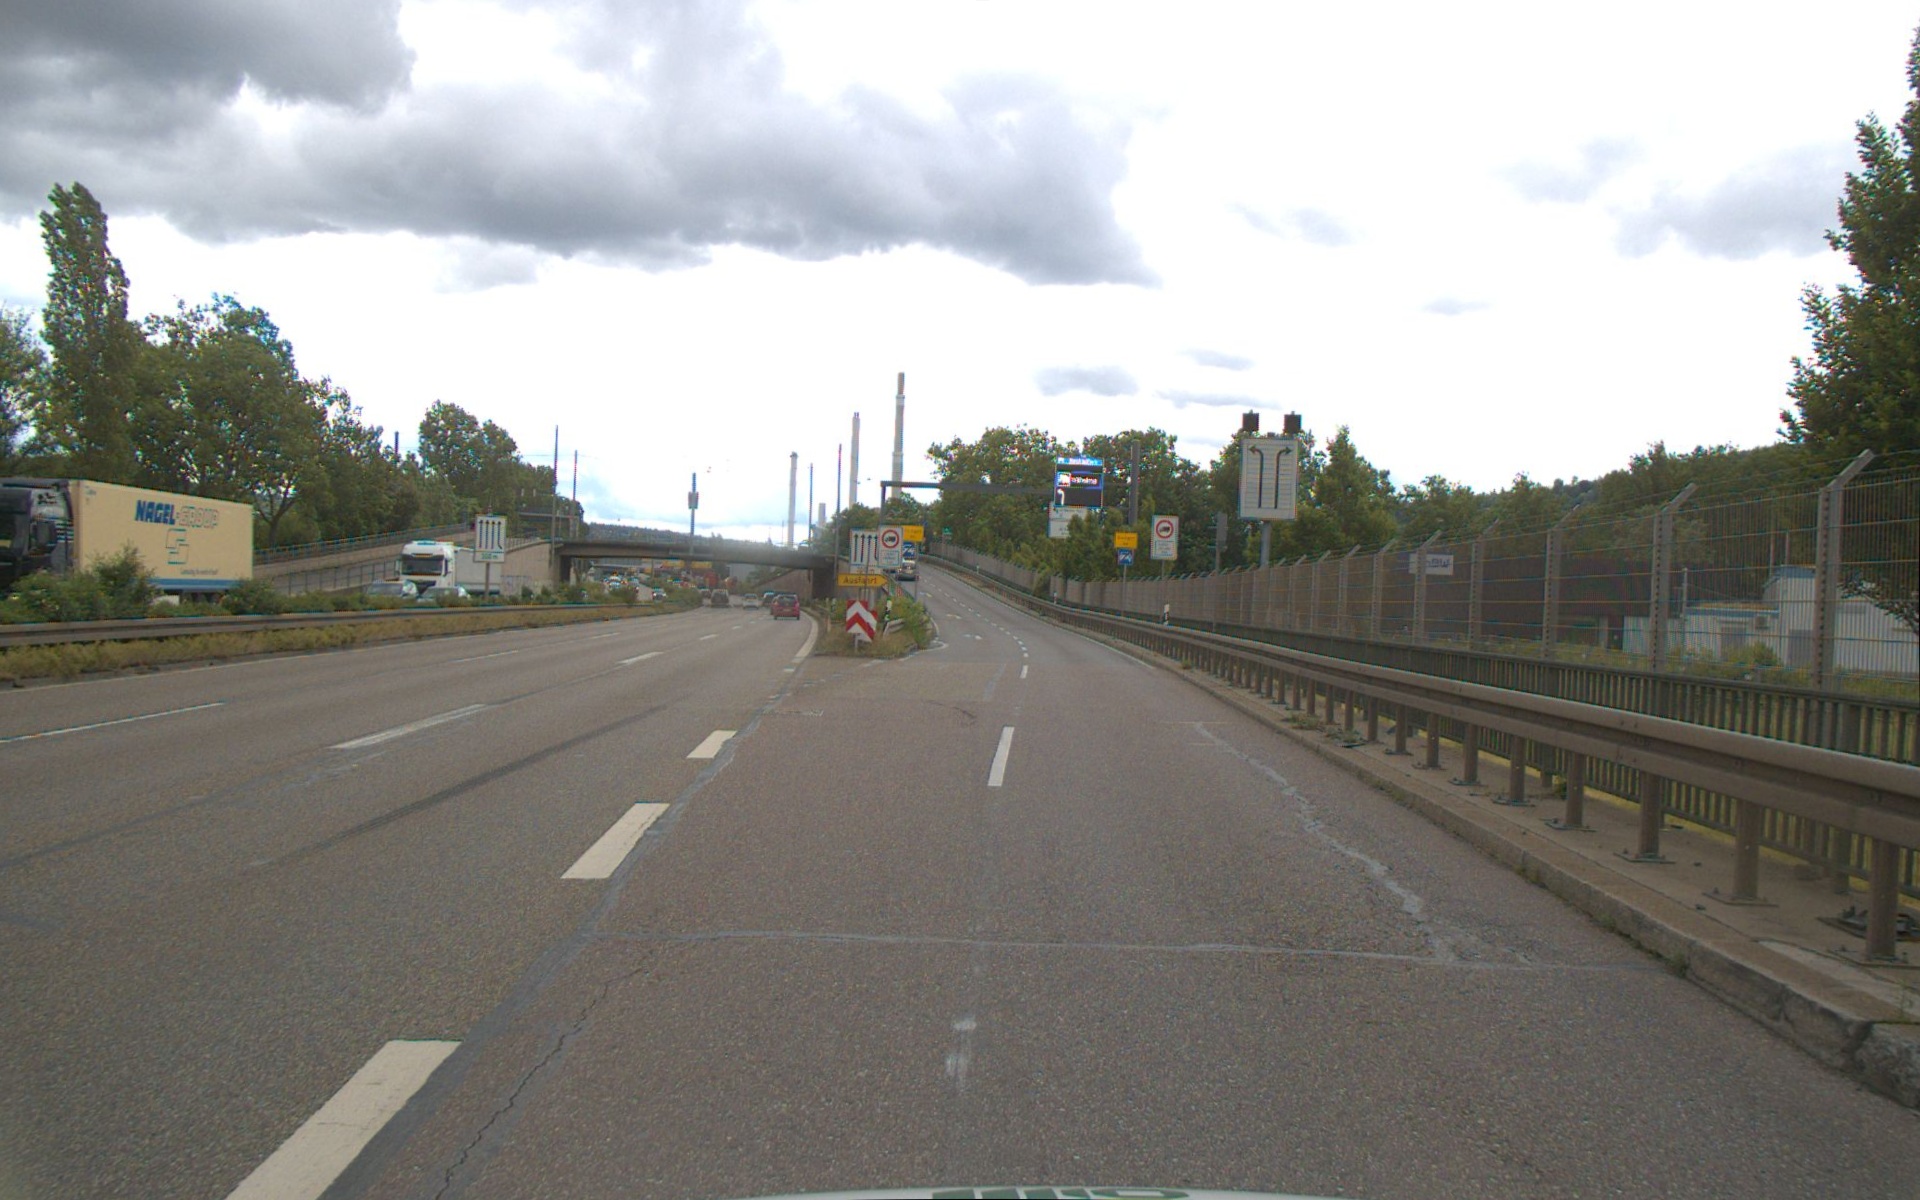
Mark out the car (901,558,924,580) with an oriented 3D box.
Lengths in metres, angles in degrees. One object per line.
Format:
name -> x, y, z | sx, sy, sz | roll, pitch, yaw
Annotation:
car -> -3.922, -2.554, 136.101 | 1.714, 1.608, 4.084 | 3, 0, 0

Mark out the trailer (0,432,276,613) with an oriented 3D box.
trailer -> -25.681, -2.127, 51.597 | 3.395, 4.754, 14.769 | 2, 0, -4

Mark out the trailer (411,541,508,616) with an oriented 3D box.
trailer -> -29.526, -1.182, 98.217 | 2.736, 4.018, 13.497 | 3, 0, -5

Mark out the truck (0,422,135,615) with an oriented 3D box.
truck -> -25.129, -2.090, 43.998 | 3.395, 4.754, 6.206 | 2, 0, -4

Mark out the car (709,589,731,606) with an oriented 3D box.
car -> -25.336, -0.273, 174.630 | 1.954, 1.713, 3.998 | 3, 1, -4

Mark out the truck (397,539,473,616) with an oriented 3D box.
truck -> -28.819, -1.188, 90.912 | 2.736, 4.006, 5.306 | 3, 0, -6

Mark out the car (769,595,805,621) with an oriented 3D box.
car -> -10.932, 0.512, 104.242 | 1.957, 1.444, 3.991 | 3, 1, -10

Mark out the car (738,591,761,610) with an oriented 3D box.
car -> -21.159, 0.059, 166.329 | 1.954, 1.713, 3.998 | 3, 1, -4
